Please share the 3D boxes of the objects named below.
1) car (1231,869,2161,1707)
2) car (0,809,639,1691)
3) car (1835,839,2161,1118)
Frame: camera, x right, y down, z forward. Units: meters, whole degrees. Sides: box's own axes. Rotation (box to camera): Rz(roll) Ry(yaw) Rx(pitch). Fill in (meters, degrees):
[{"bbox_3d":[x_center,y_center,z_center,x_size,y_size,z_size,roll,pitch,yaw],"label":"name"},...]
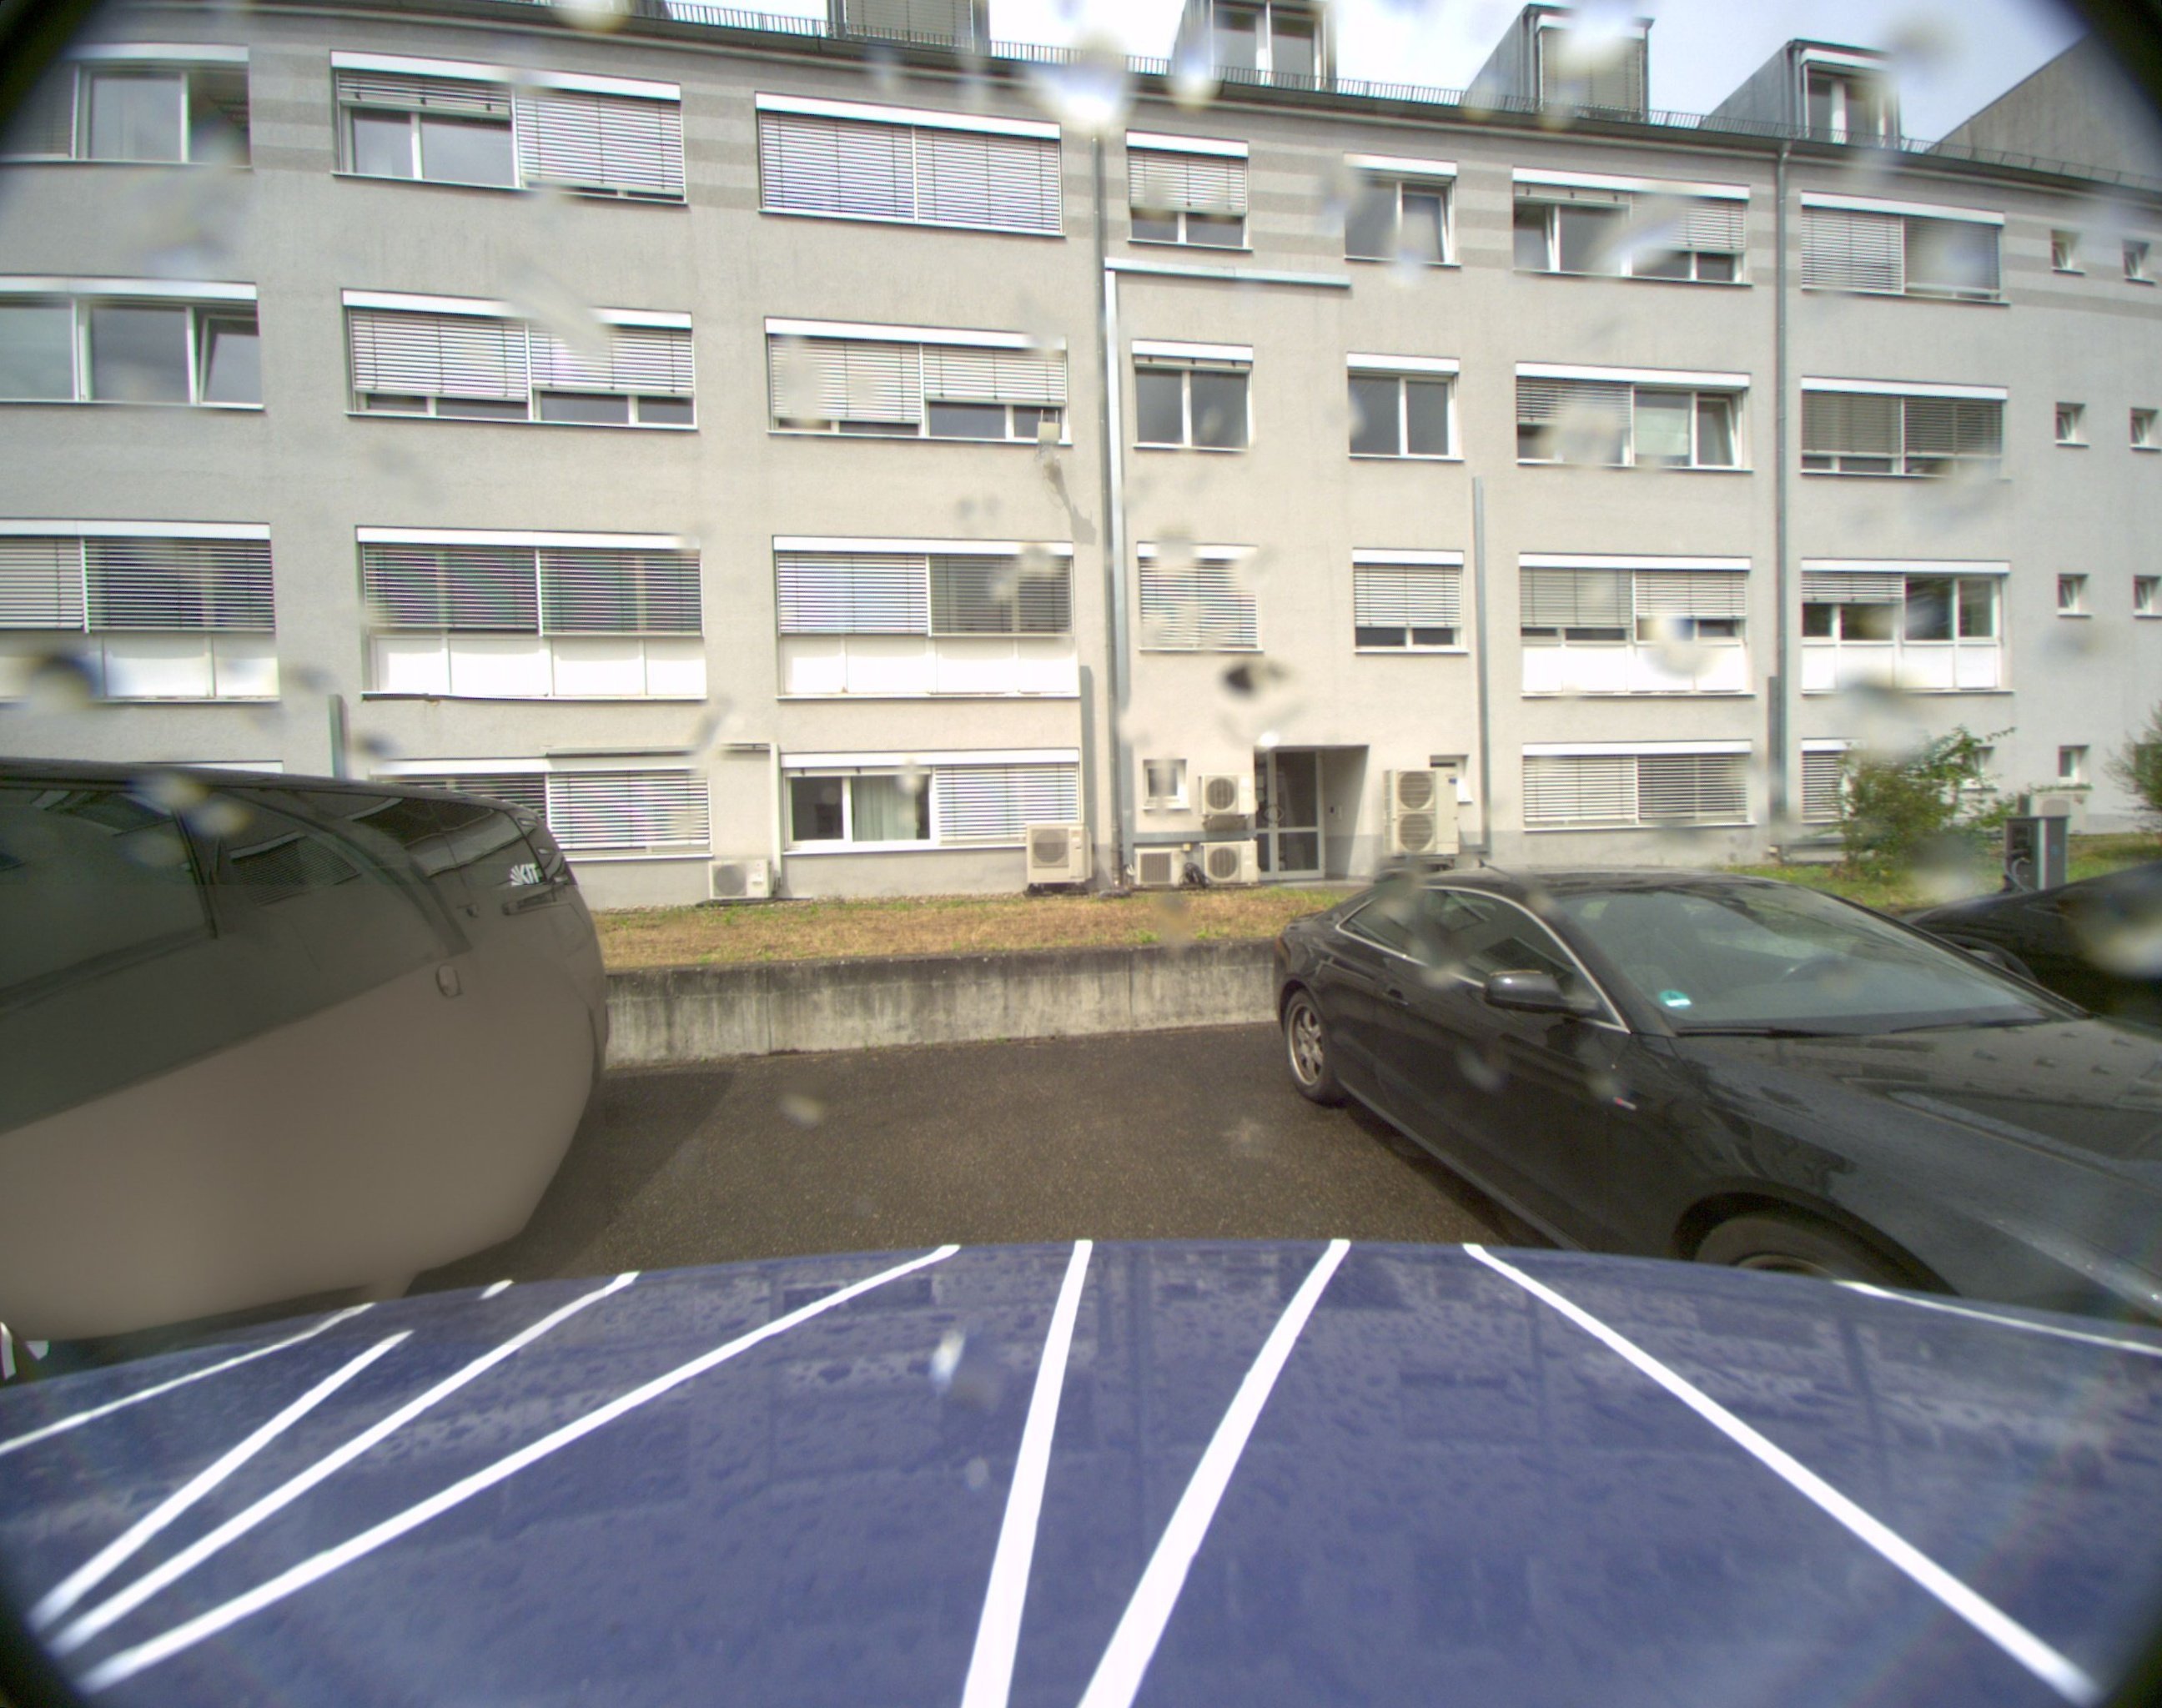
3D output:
[{"bbox_3d":[2.183,0.876,3.003,1.763,1.344,4.525,-3,2,-7],"label":"car"},{"bbox_3d":[-3.385,0.851,2.147,1.970,1.854,4.743,-2,2,-8],"label":"car"},{"bbox_3d":[6.821,0.699,3.678,1.763,1.435,4.311,-3,2,-8],"label":"car"}]
